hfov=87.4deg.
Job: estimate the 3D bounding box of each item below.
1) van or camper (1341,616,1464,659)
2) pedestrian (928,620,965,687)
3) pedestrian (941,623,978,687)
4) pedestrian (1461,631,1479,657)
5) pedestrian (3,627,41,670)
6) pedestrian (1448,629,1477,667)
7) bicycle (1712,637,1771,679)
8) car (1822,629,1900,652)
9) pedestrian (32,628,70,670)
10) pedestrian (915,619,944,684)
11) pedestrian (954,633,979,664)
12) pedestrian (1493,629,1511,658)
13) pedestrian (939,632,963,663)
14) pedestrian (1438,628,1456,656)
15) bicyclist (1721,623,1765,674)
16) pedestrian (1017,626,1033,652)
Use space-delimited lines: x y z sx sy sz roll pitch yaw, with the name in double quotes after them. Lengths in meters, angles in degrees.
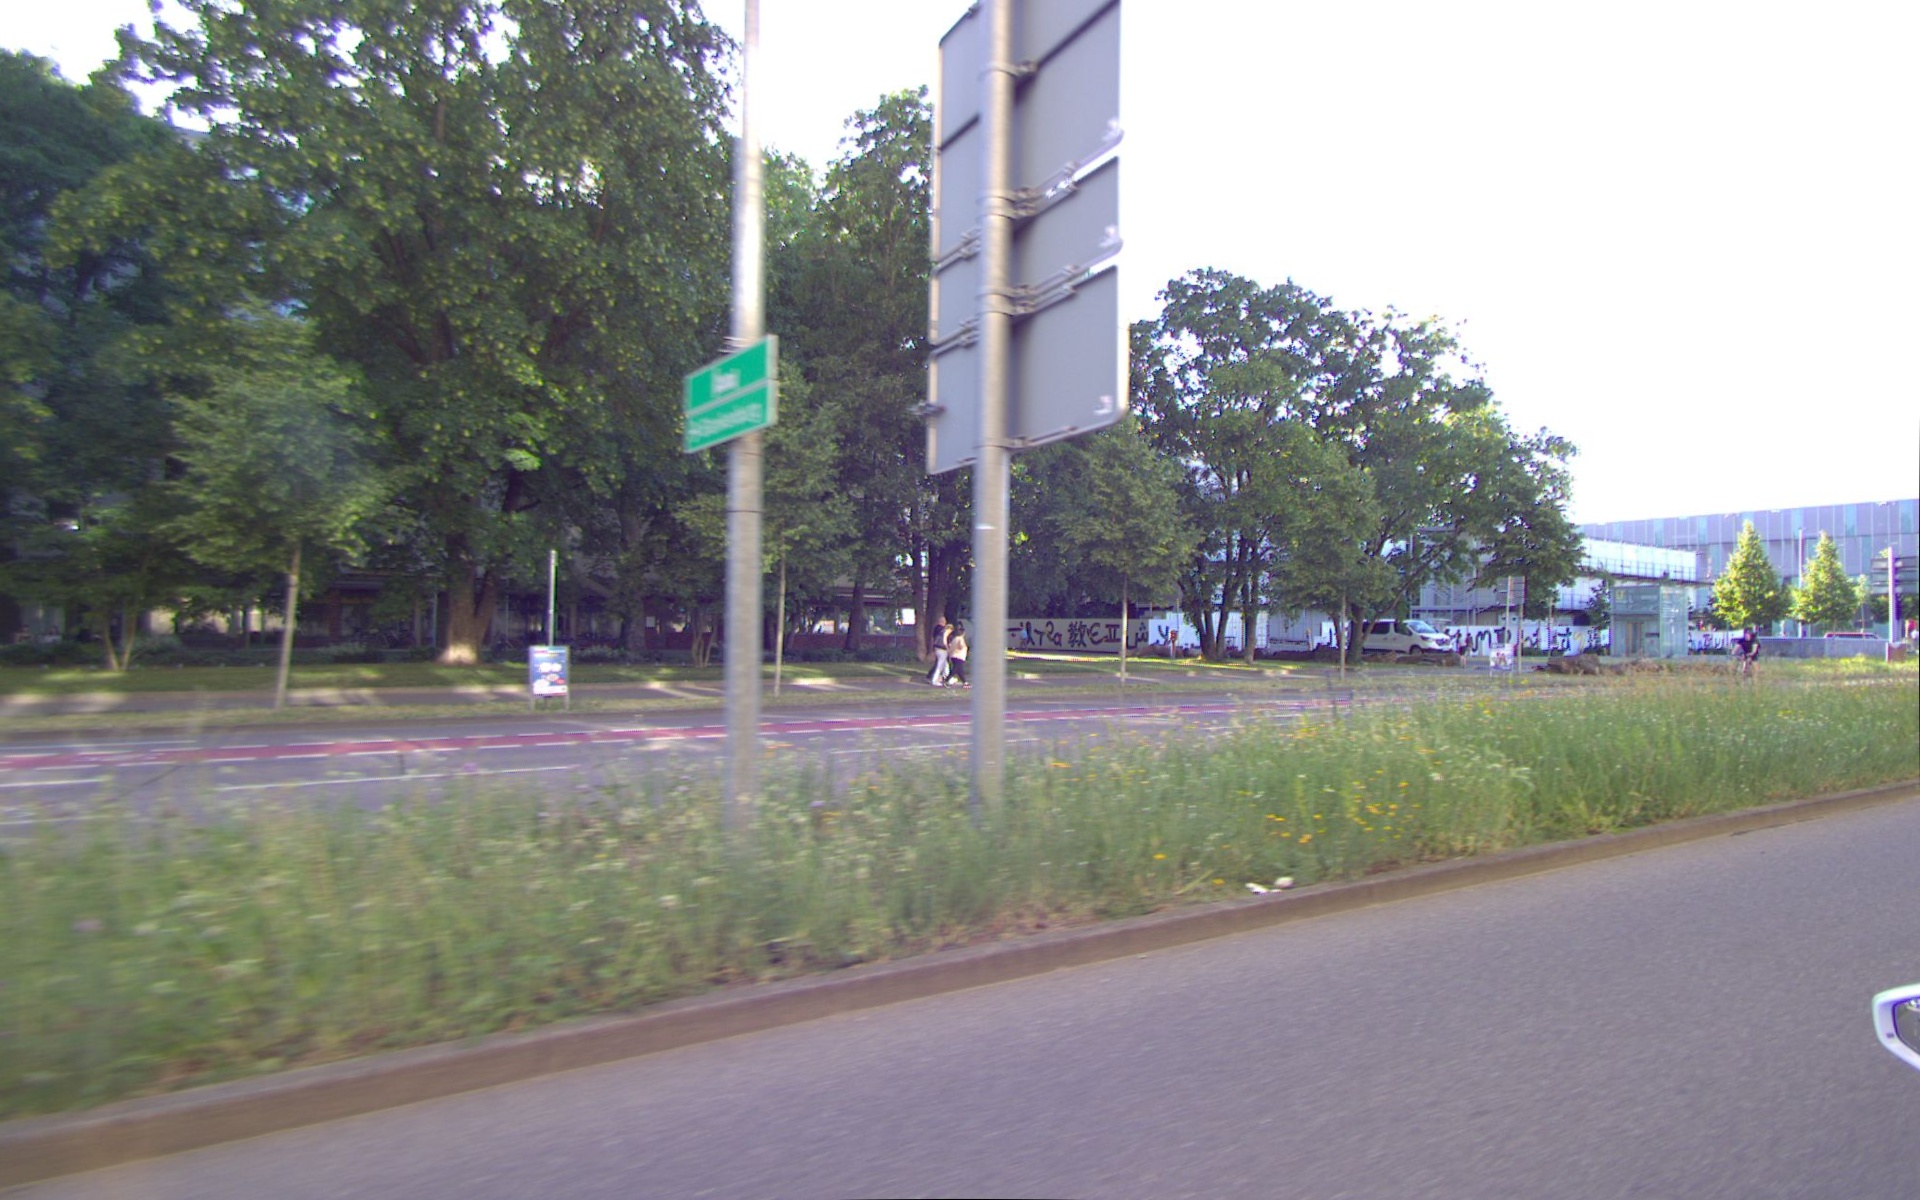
22.638 1.957 51.651 2.230 2.040 5.640 3 -3 -28 "van or camper"
-0.373 1.429 27.152 0.751 1.763 0.769 1 -1 -26 "pedestrian"
-0.010 1.446 26.484 0.717 1.662 0.740 1 -1 -26 "pedestrian"
28.463 2.446 56.070 0.826 1.396 0.576 1 -1 -32 "pedestrian"
-30.579 1.573 32.761 0.656 1.357 0.902 1 -2 -27 "pedestrian"
20.702 1.965 41.397 0.929 1.548 0.611 1 -1 -25 "pedestrian"
25.484 1.894 32.729 2.232 1.291 0.754 4 -3 -31 "bicycle"
75.192 3.377 83.859 1.855 1.833 4.606 4 -4 -37 "car"
-29.974 1.596 33.137 0.707 1.357 0.823 1 -2 -27 "pedestrian"
-0.837 1.411 27.676 0.646 1.763 0.522 1 -1 -26 "pedestrian"
0.326 2.455 51.450 0.886 1.560 0.895 2 -2 -37 "pedestrian"
32.303 2.582 59.865 0.826 1.711 0.576 1 -1 -32 "pedestrian"
-0.461 2.399 50.899 0.886 1.560 0.895 2 -2 -37 "pedestrian"
27.647 2.382 57.005 0.826 1.578 0.576 1 -1 -32 "pedestrian"
25.550 1.587 32.782 1.188 1.611 0.743 3 -3 -30 "bicyclist"
4.065 2.441 62.806 0.734 1.662 0.722 1 -1 -24 "pedestrian"
